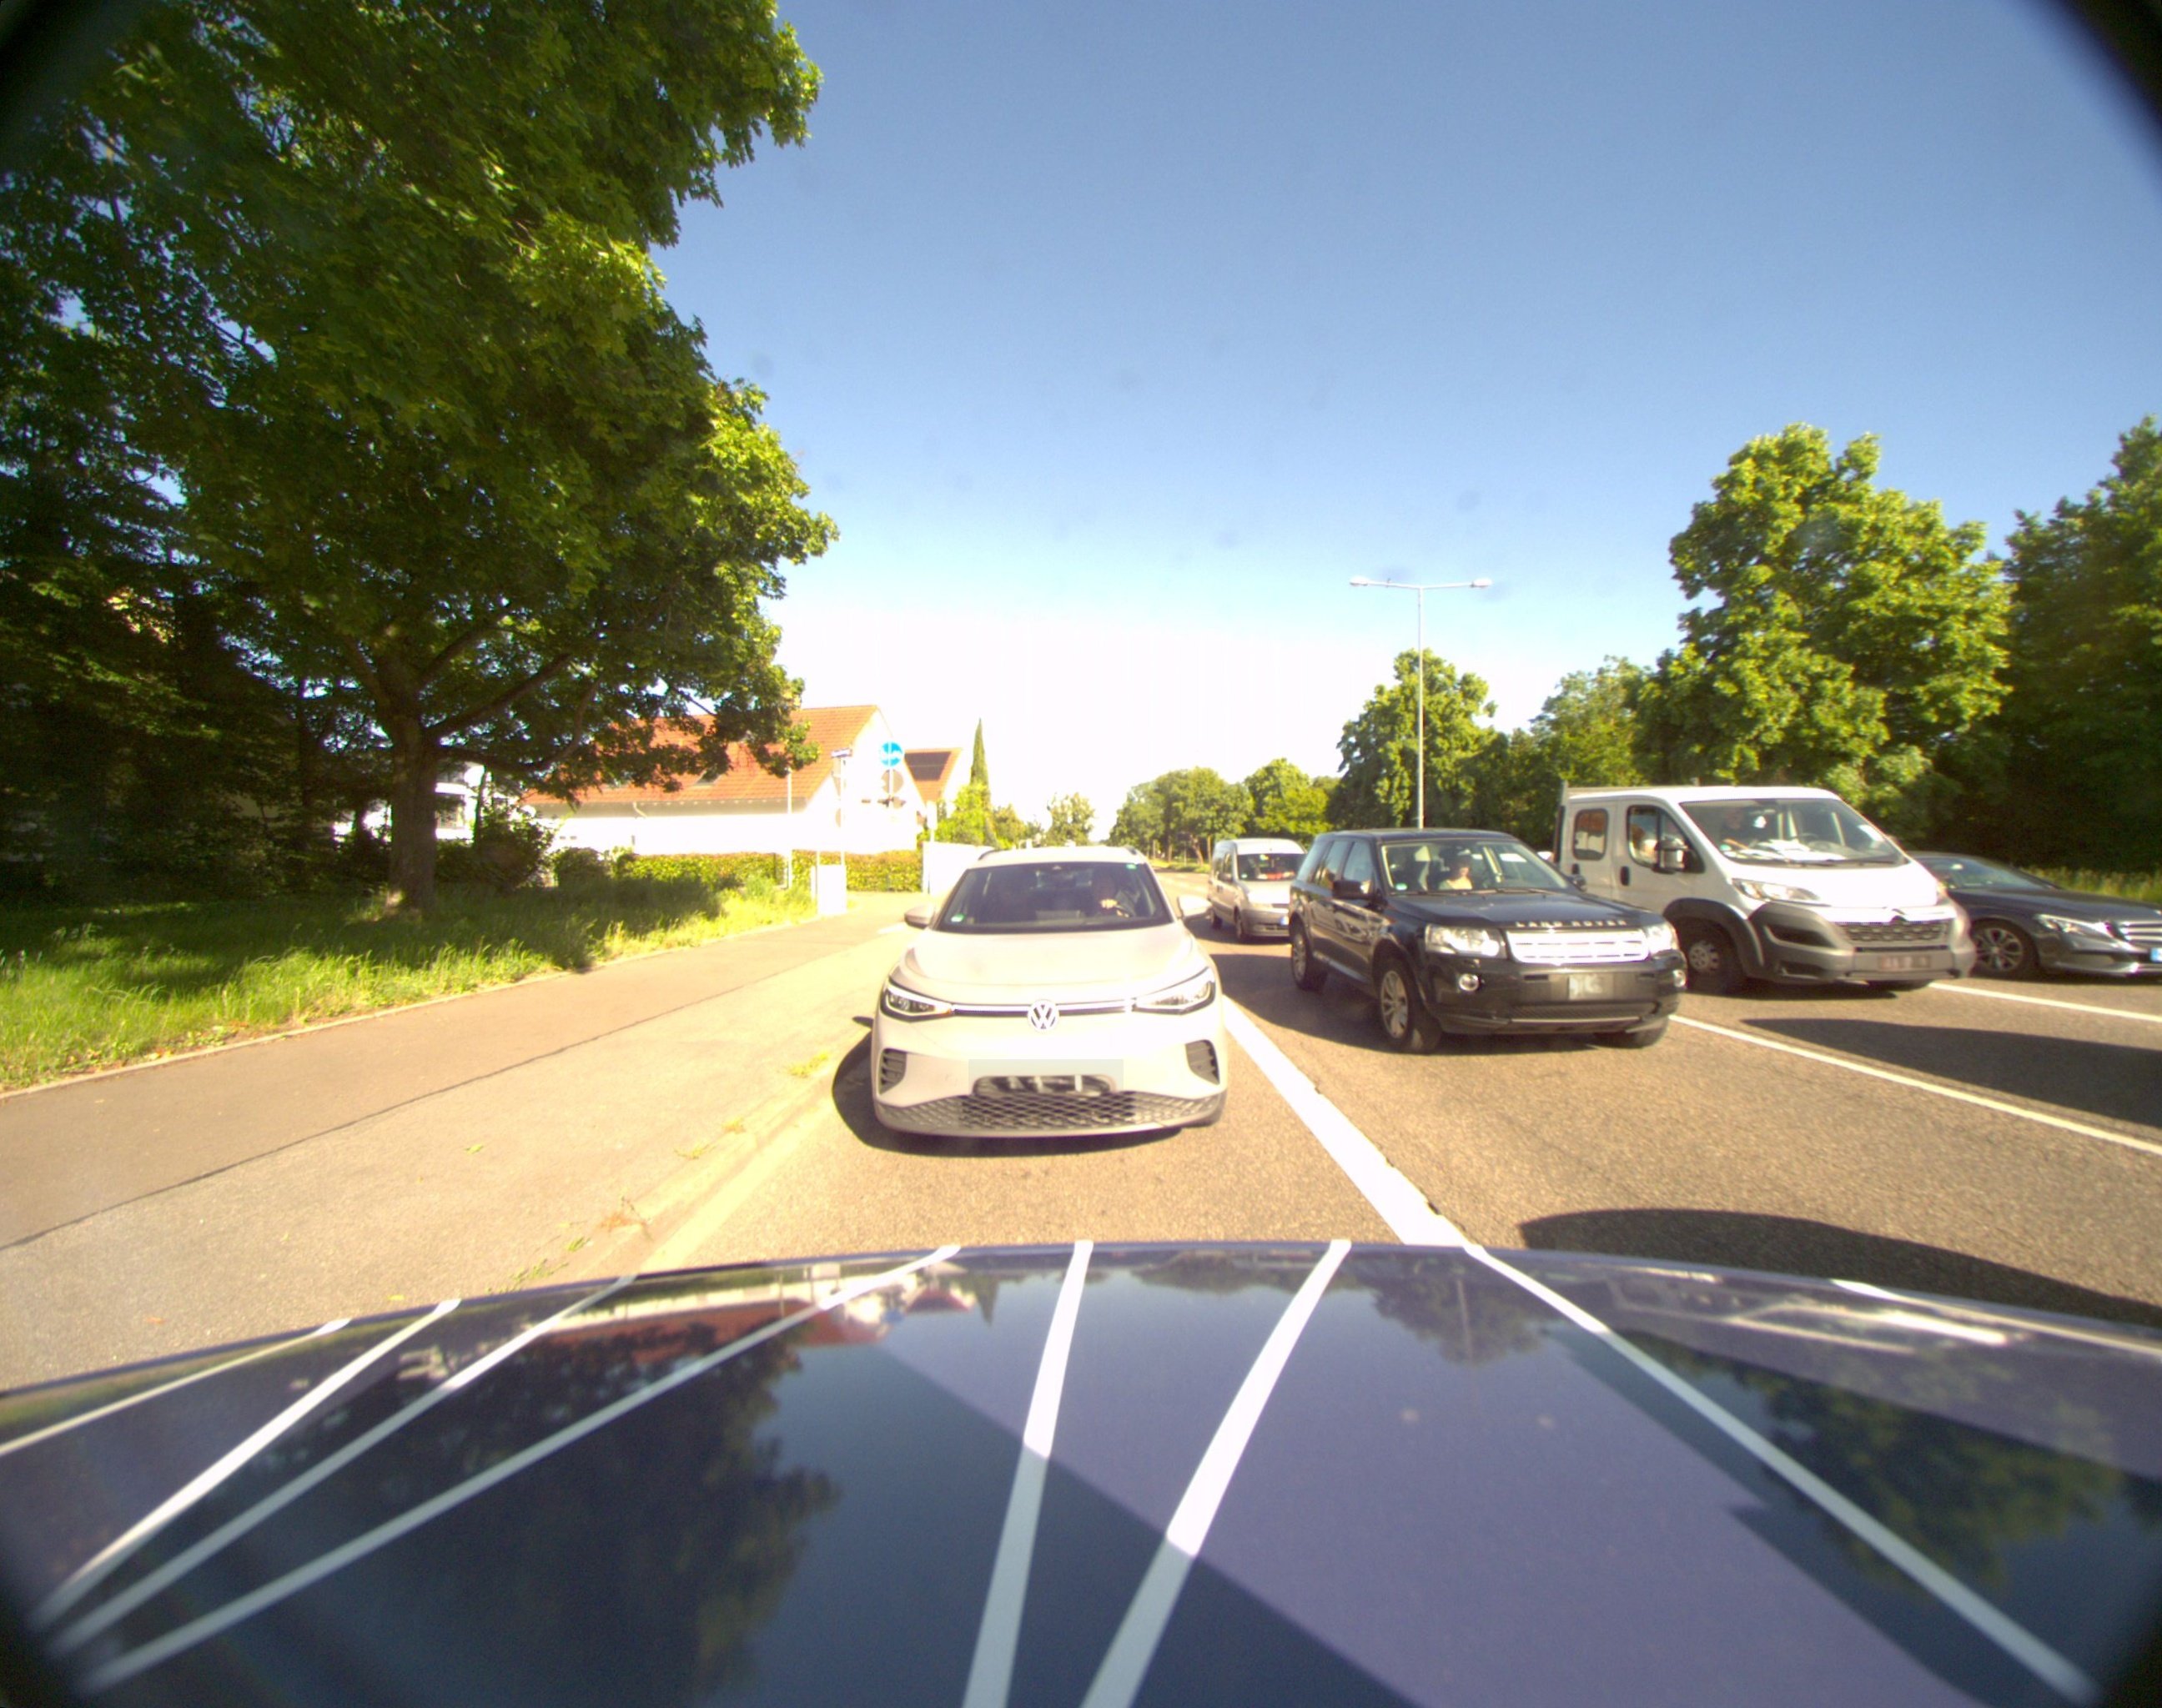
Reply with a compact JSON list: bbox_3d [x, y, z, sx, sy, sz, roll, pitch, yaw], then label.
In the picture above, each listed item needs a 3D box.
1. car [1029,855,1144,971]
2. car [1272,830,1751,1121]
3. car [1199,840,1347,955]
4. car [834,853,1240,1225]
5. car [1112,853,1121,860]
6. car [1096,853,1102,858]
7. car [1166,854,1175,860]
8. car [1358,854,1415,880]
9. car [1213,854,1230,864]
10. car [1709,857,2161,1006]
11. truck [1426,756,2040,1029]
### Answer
[{"bbox_3d":[0.102,0.863,13.033,1.632,1.586,4.024,-2,1,1],"label":"car"},{"bbox_3d":[3.160,0.712,6.785,1.816,1.721,4.386,-2,1,1],"label":"car"},{"bbox_3d":[3.318,0.651,13.980,1.632,1.741,4.386,-2,1,1],"label":"car"},{"bbox_3d":[-0.176,0.846,5.590,1.858,1.679,4.206,0,1,1],"label":"car"},{"bbox_3d":[7.811,0.566,166.930,1.704,1.466,3.931,-1,0,0],"label":"car"},{"bbox_3d":[5.051,0.370,209.321,1.704,1.466,3.931,0,0,1],"label":"car"},{"bbox_3d":[21.399,0.664,181.446,1.792,1.409,4.000,0,0,1],"label":"car"},{"bbox_3d":[18.981,0.755,47.410,1.645,1.552,4.331,0,0,-2],"label":"car"},{"bbox_3d":[20.429,0.715,110.827,1.792,1.409,4.000,0,0,1],"label":"car"},{"bbox_3d":[10.686,0.766,9.600,1.816,1.382,4.385,1,1,-1],"label":"car"},{"bbox_3d":[7.207,0.297,9.998,2.185,2.307,6.842,-2,1,0],"label":"truck"}]
